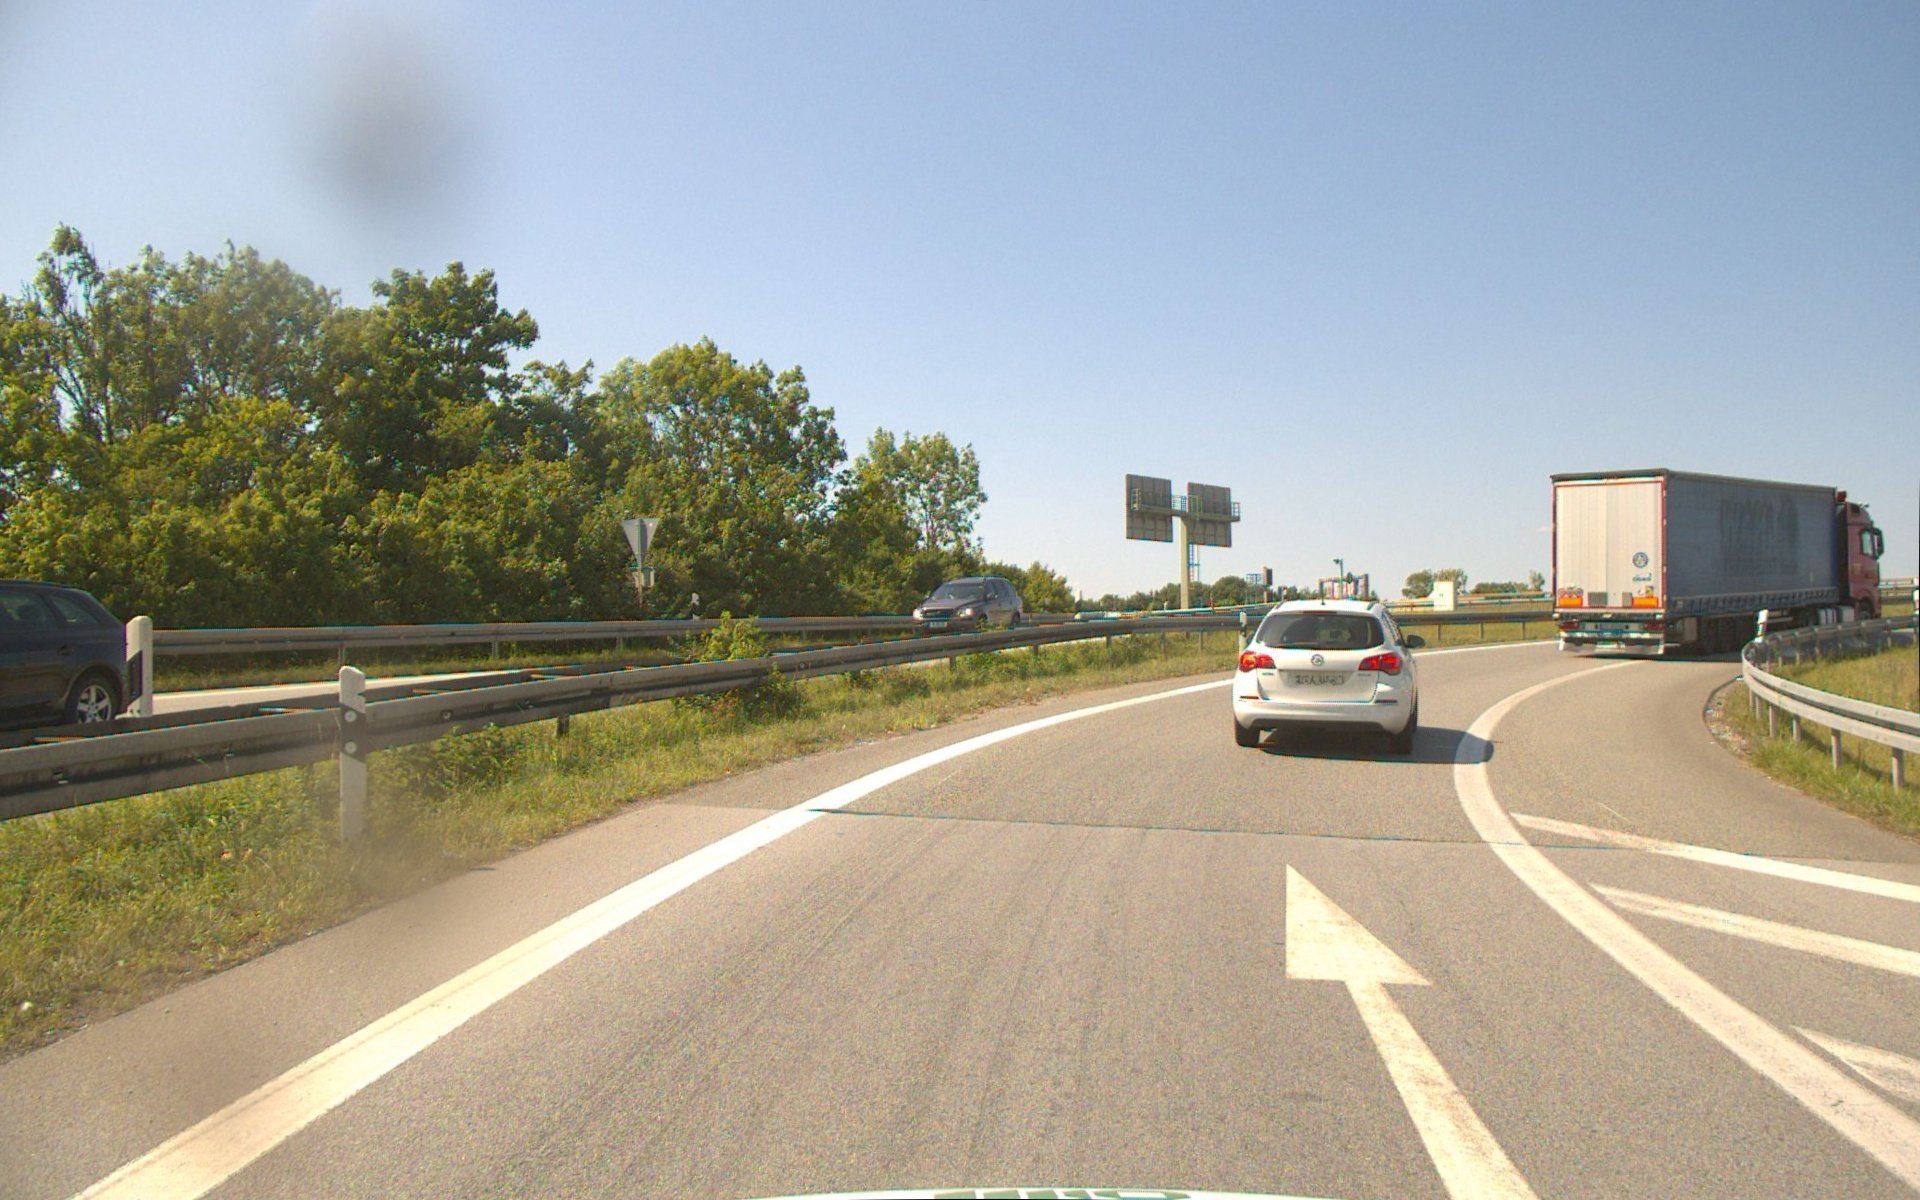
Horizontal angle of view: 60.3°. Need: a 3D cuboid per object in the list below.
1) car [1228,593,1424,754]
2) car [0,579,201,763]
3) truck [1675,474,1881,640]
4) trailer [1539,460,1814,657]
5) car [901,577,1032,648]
[{"bbox_3d":[4.024,0.676,17.730,1.815,1.468,4.375,0,1,15],"label":"car"},{"bbox_3d":[-8.558,0.556,13.438,1.755,1.473,4.706,1,0,14],"label":"car"},{"bbox_3d":[22.597,-1.154,45.534,6.871,4.217,2.875,-1,0,-44],"label":"truck"},{"bbox_3d":[17.826,-0.968,40.534,2.869,4.217,11.193,-1,0,41],"label":"trailer"},{"bbox_3d":[0.257,0.302,44.110,1.952,1.761,5.199,1,0,19],"label":"car"}]
